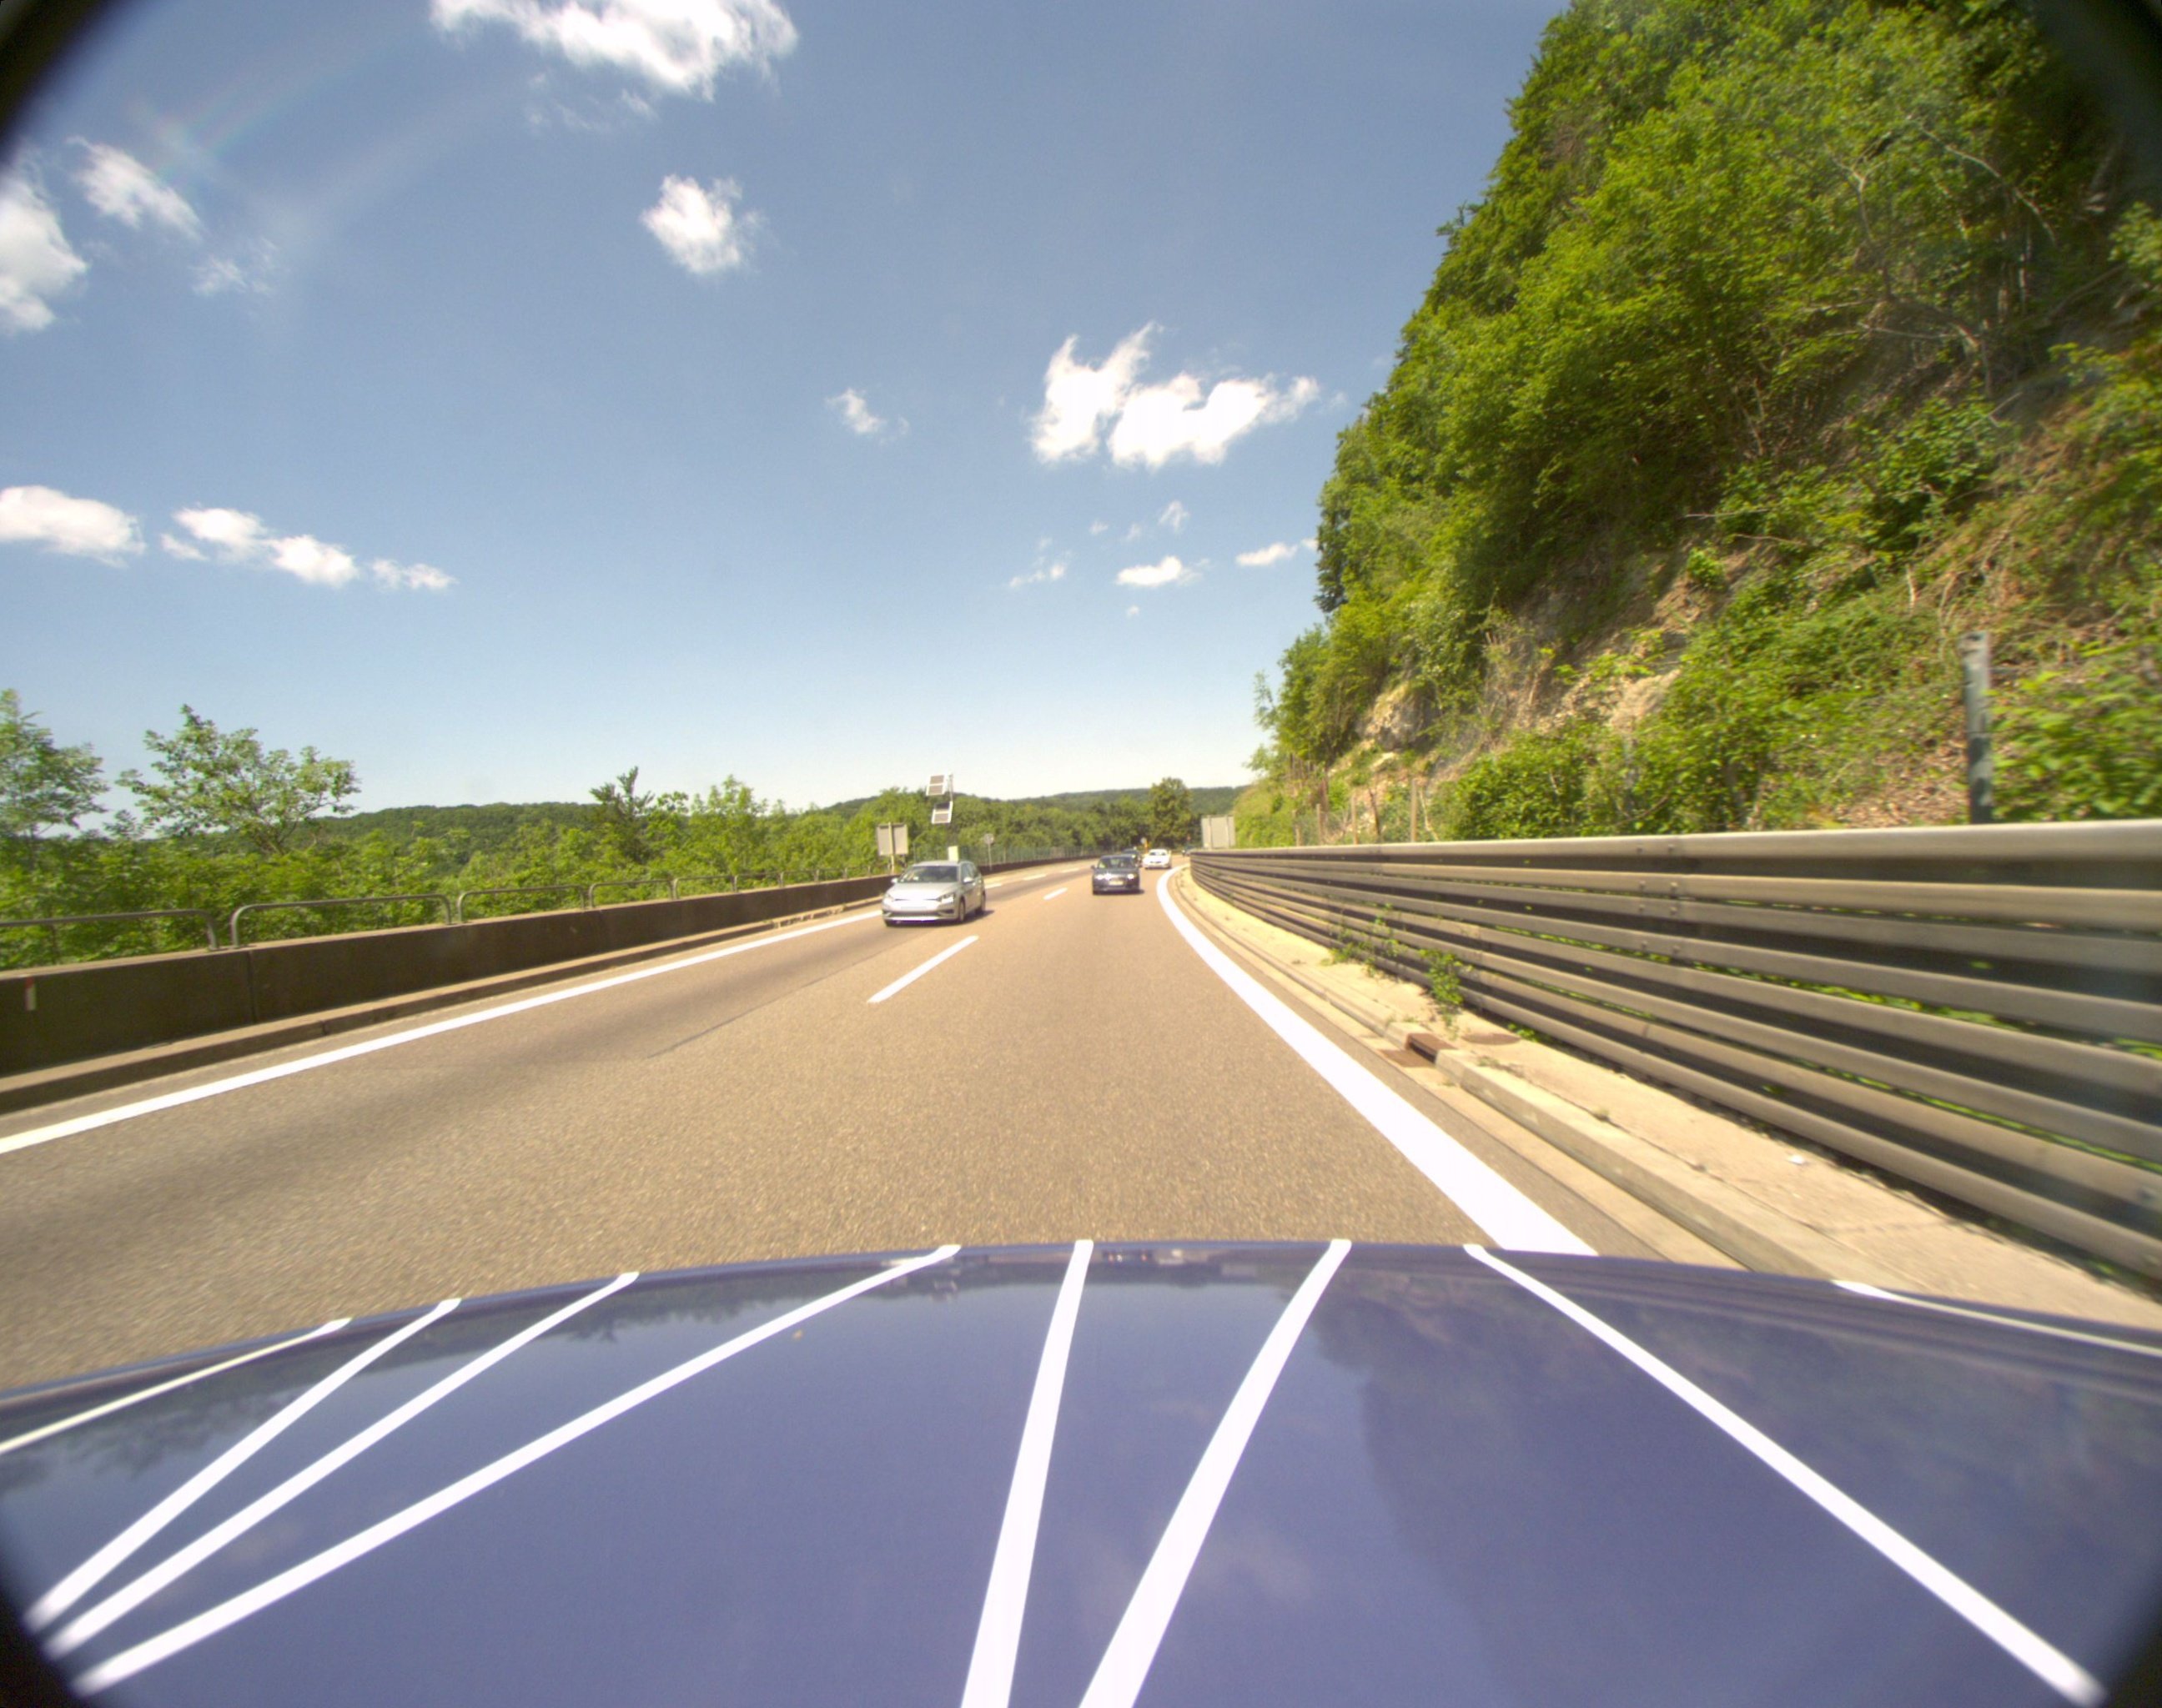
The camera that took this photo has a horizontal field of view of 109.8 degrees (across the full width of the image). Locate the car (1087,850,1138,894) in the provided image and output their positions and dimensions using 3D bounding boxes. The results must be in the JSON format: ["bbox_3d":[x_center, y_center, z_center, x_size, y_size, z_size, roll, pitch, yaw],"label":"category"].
[{"bbox_3d":[1.214,0.600,27.956,1.668,1.415,4.044,-2,1,4],"label":"car"}]

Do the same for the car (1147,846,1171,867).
[{"bbox_3d":[5.952,0.158,57.978,1.702,1.432,4.045,-2,1,6],"label":"car"}]

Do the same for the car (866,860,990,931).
[{"bbox_3d":[-3.556,0.906,18.547,1.972,1.370,4.293,-2,1,2],"label":"car"}]

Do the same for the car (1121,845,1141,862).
[{"bbox_3d":[5.030,-0.045,76.267,1.875,1.565,4.001,-2,1,5],"label":"car"}]

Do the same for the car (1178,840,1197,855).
[{"bbox_3d":[15.164,-0.991,108.038,1.996,2.002,4.005,-2,1,18],"label":"car"}]
